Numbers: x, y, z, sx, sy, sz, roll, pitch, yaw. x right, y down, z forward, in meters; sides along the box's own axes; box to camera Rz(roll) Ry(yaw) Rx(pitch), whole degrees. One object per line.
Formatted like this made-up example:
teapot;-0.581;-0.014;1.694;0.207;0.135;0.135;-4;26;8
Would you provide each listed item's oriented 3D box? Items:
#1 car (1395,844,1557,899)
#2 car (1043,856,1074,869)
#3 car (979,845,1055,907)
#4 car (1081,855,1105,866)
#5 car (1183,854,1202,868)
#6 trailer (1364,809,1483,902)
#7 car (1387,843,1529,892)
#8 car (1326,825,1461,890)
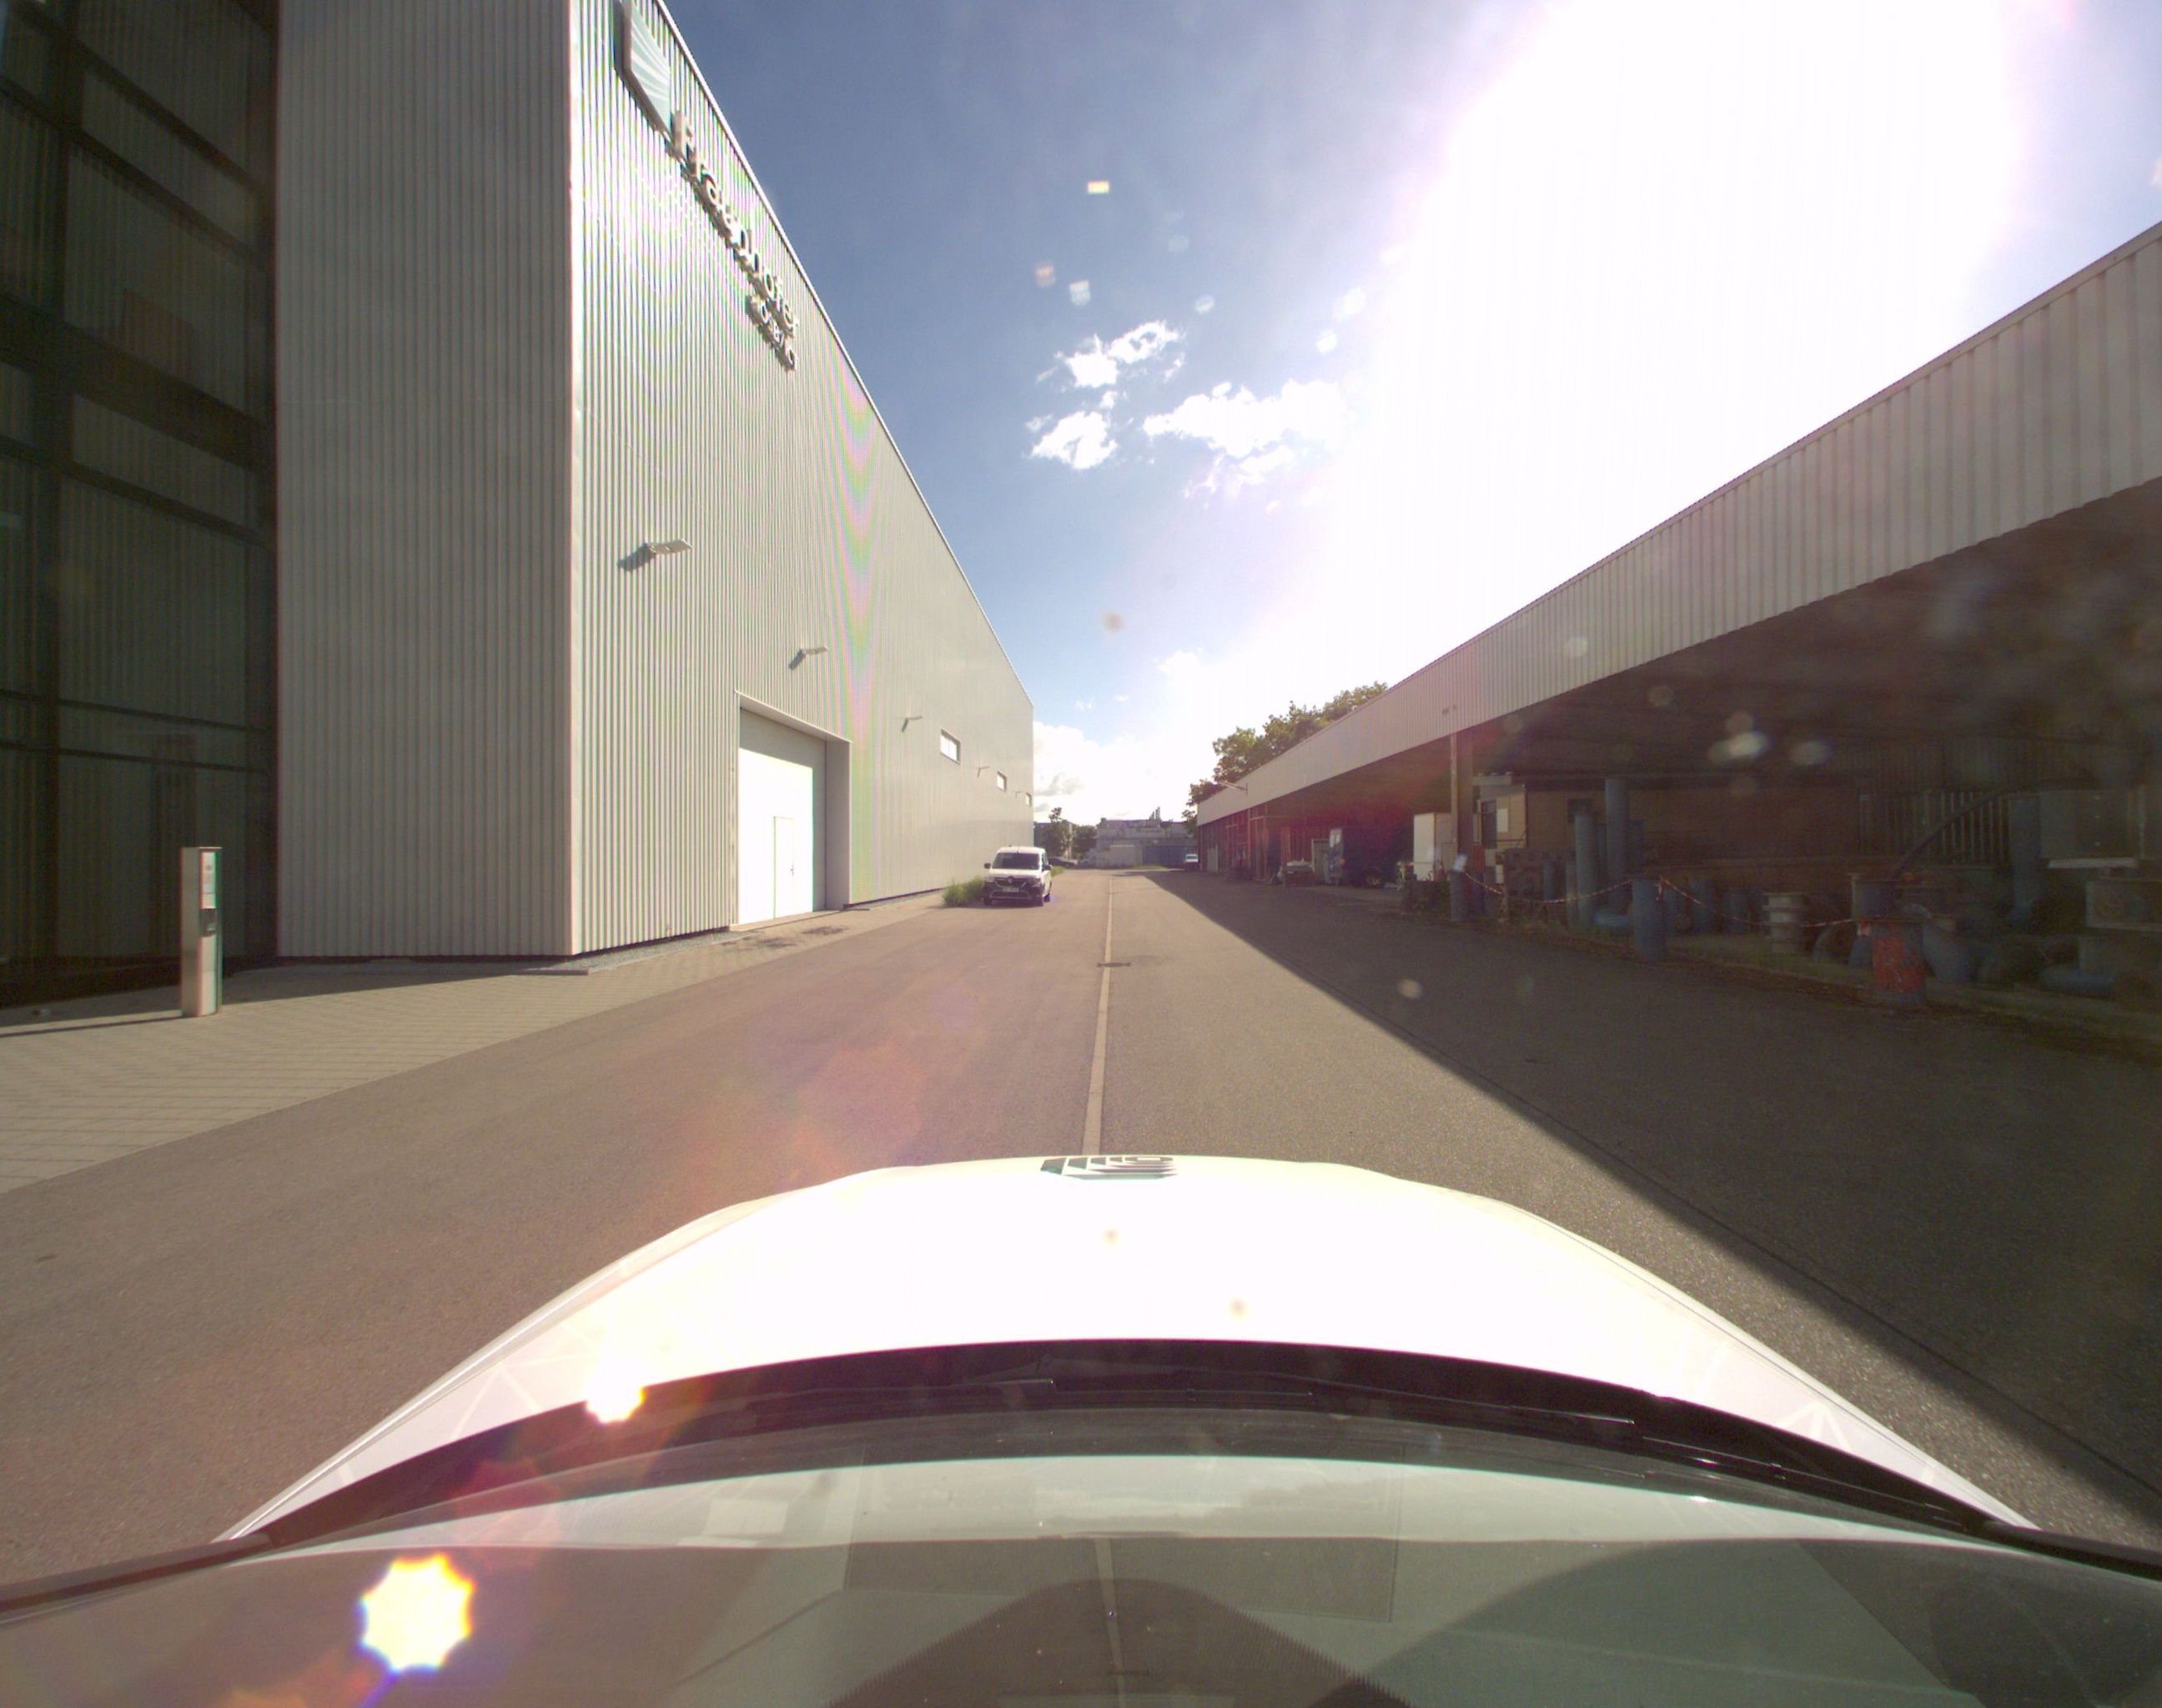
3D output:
car;11.622;0.527;24.169;4.021;1.525;1.685;1;-2;3
car;-2.949;1.122;108.063;3.973;1.598;1.741;1;-2;1
car;-1.914;0.625;25.745;1.811;1.787;4.408;1;0;3
car;1.964;1.091;135.830;3.973;1.598;1.848;1;-2;1
car;12.991;0.834;95.186;1.953;1.564;4.063;1;0;4
trailer;9.176;0.056;21.974;2.513;2.399;1.728;-1;-1;3
car;12.678;0.473;27.566;4.021;1.525;1.685;1;-2;3
car;11.693;0.162;30.696;4.414;2.310;1.916;1;-2;3
